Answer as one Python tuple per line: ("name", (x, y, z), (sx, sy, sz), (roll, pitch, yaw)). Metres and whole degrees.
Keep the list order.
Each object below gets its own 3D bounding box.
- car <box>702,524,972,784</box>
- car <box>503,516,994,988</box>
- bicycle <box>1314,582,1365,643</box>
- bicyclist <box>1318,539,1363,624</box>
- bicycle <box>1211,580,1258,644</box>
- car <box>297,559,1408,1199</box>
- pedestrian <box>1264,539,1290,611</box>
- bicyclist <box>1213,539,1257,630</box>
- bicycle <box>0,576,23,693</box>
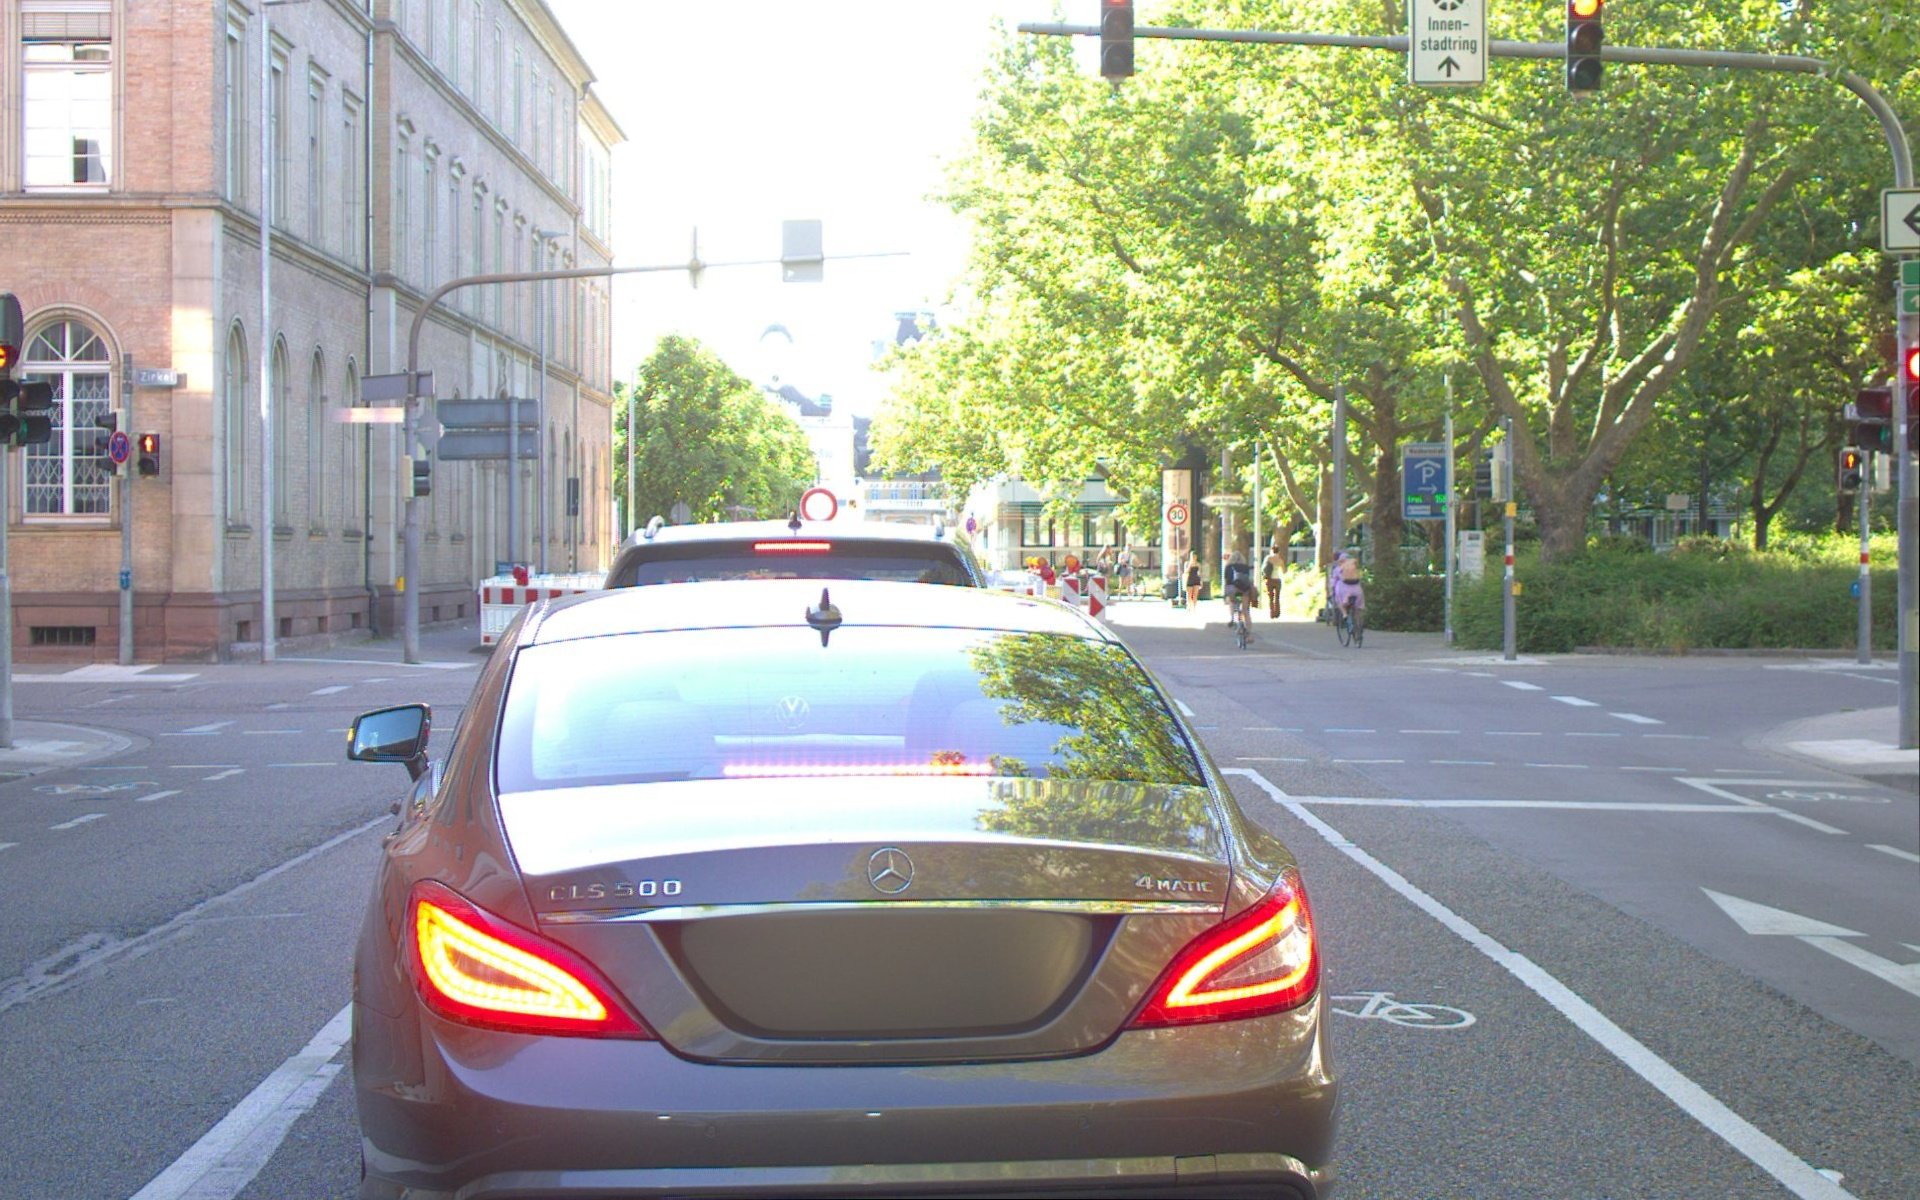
("car", (-0.833, 0.311, 23.334), (1.681, 1.619, 3.841), (0, 1, -2))
("car", (-0.794, 0.497, 13.747), (1.681, 1.619, 3.841), (0, 1, -2))
("bicycle", (6.432, 0.205, 58.304), (0.600, 0.981, 1.881), (2, 1, -1))
("bicyclist", (6.444, -0.320, 58.267), (0.600, 1.397, 0.931), (2, 1, -1))
("bicycle", (4.664, 0.197, 58.551), (0.610, 1.023, 1.731), (2, 1, -1))
("car", (-0.440, 0.650, 7.778), (1.821, 1.471, 4.354), (0, 1, -7))
("pedestrian", (7.412, -0.591, 80.422), (0.559, 1.672, 0.565), (0, 1, -1))
("bicyclist", (4.679, -0.271, 58.540), (0.610, 1.511, 0.890), (2, 1, -1))
("bicycle", (-10.720, 0.344, 35.376), (1.997, 1.181, 0.589), (0, 1, 1))
